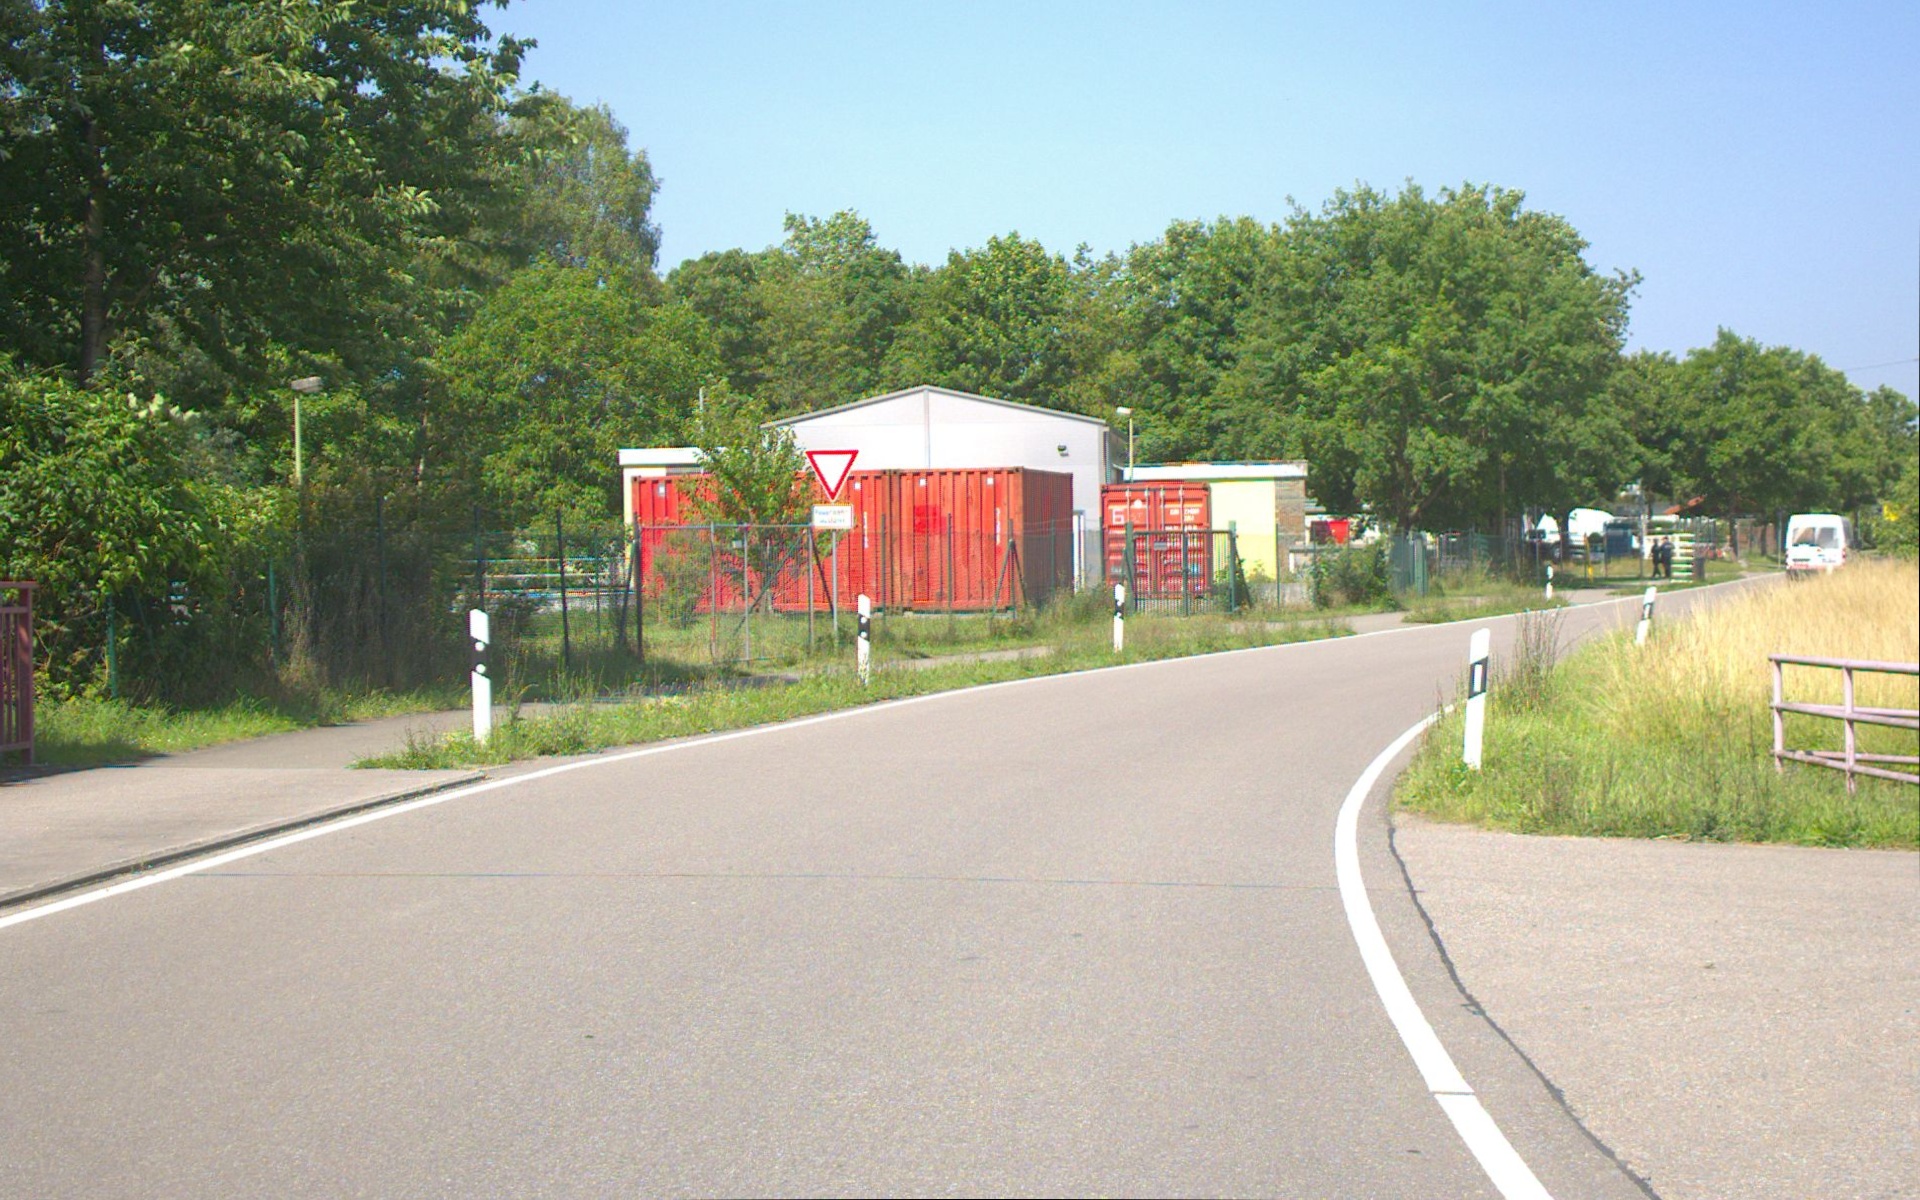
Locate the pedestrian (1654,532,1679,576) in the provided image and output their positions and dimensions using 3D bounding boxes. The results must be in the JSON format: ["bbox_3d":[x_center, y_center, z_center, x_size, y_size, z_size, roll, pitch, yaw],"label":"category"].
[{"bbox_3d":[29.323,-1.895,142.704,0.721,1.797,0.708,0,1,41],"label":"pedestrian"}]

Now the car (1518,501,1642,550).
[{"bbox_3d":[29.782,-3.572,165.173,5.593,2.258,2.001,-1,1,-20],"label":"car"}]

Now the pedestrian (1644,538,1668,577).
[{"bbox_3d":[28.775,-1.756,142.204,0.678,1.560,0.717,0,1,41],"label":"pedestrian"}]

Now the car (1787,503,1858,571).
[{"bbox_3d":[29.711,-2.168,118.379,1.995,2.258,4.722,-1,1,18],"label":"car"}]
